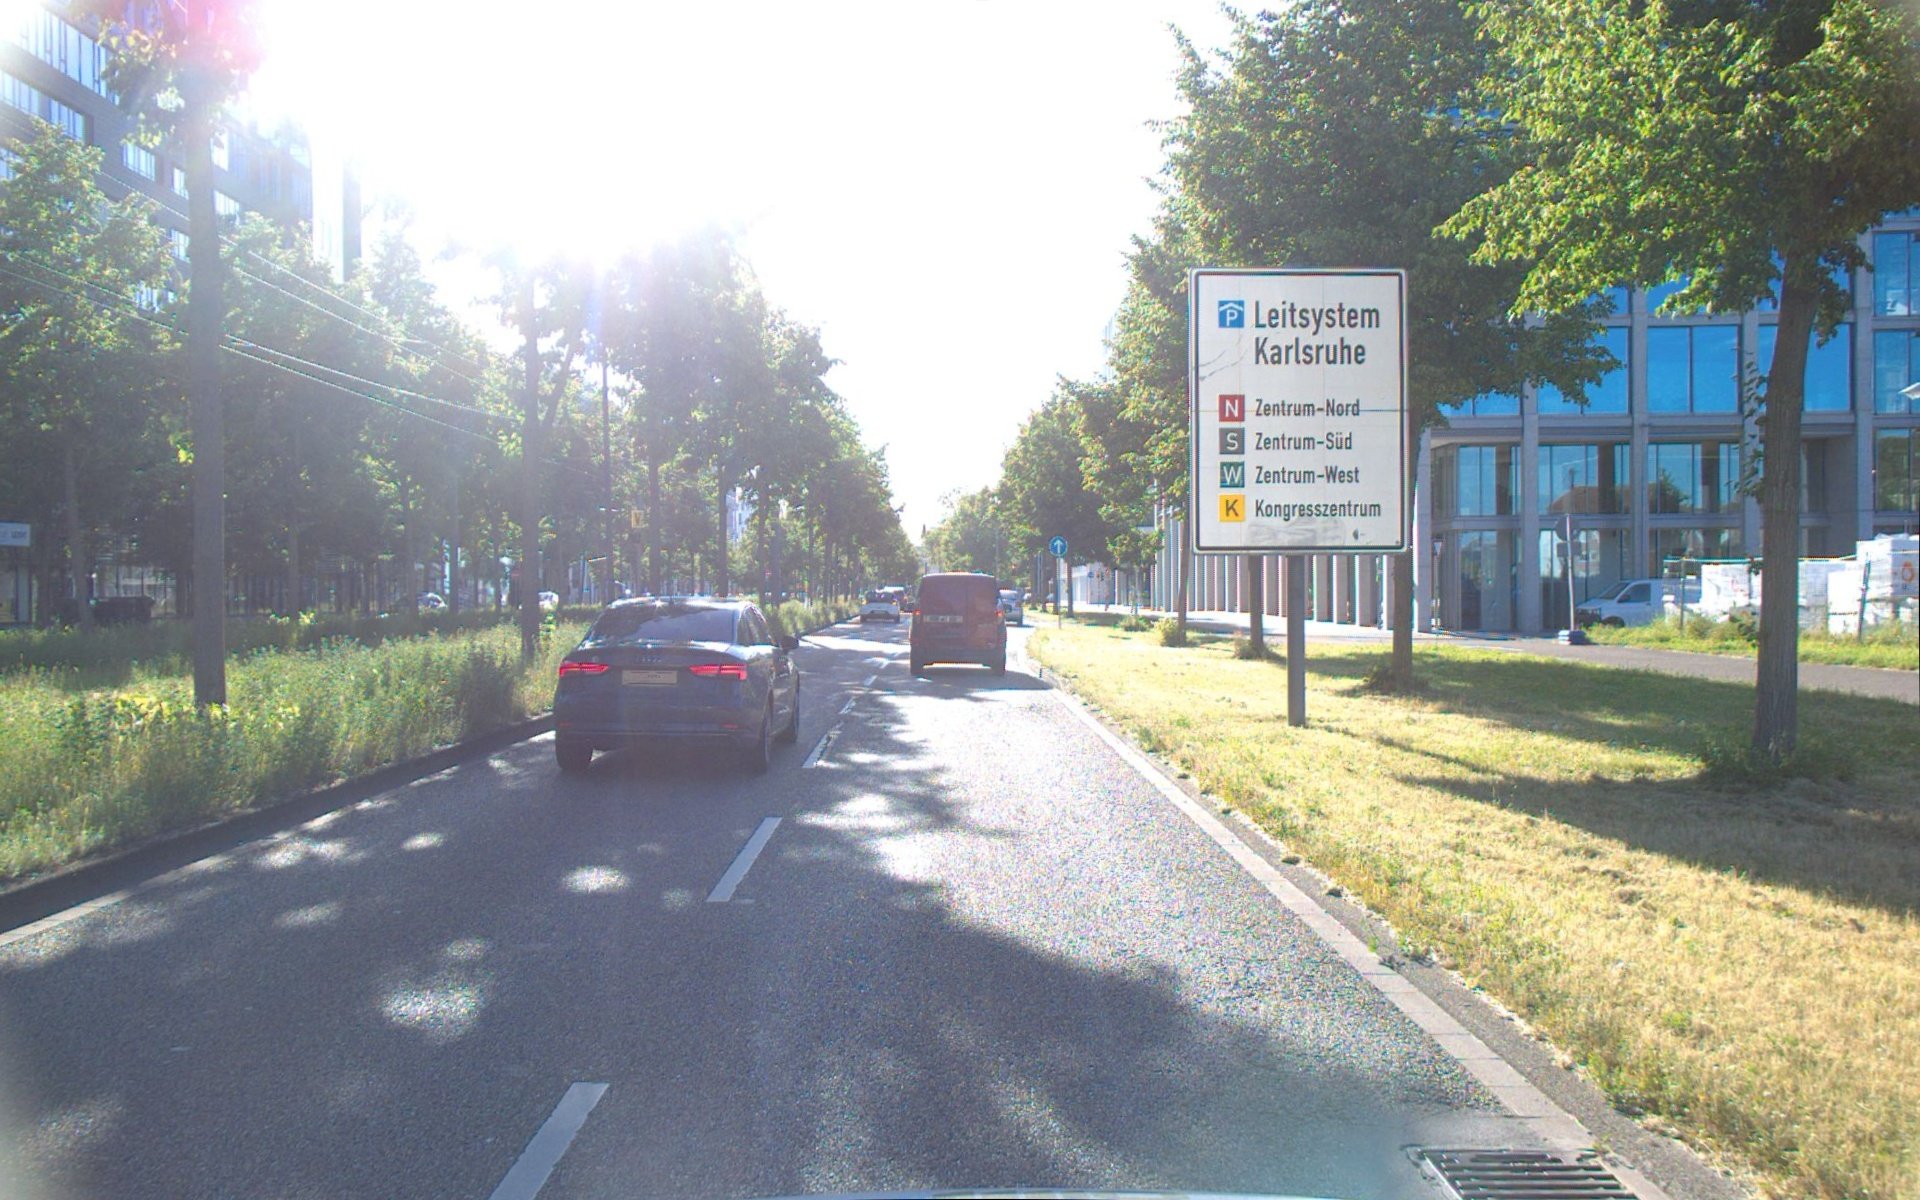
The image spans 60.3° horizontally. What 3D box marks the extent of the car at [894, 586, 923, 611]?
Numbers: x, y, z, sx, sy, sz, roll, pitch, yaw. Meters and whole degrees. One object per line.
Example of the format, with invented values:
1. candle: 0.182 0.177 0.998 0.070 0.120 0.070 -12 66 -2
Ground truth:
1. car: -3.376 -0.107 108.888 1.805 1.561 3.940 0 0 0

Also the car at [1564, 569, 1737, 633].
1. car: 22.877 0.027 54.926 4.961 2.016 1.939 0 0 2

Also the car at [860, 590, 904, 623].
1. car: -3.529 0.271 74.609 1.903 1.466 3.998 0 0 -3

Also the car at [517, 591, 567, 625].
1. car: -23.357 0.429 92.478 1.761 1.718 4.320 1 1 -1

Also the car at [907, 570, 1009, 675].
1. car: -0.085 0.376 30.848 1.761 1.808 3.999 1 0 -2

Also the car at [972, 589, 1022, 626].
1. car: 1.574 0.308 71.227 1.688 1.450 3.812 1 1 -6

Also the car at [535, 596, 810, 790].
1. car: -2.353 0.697 14.538 1.686 1.390 4.145 1 1 -1
